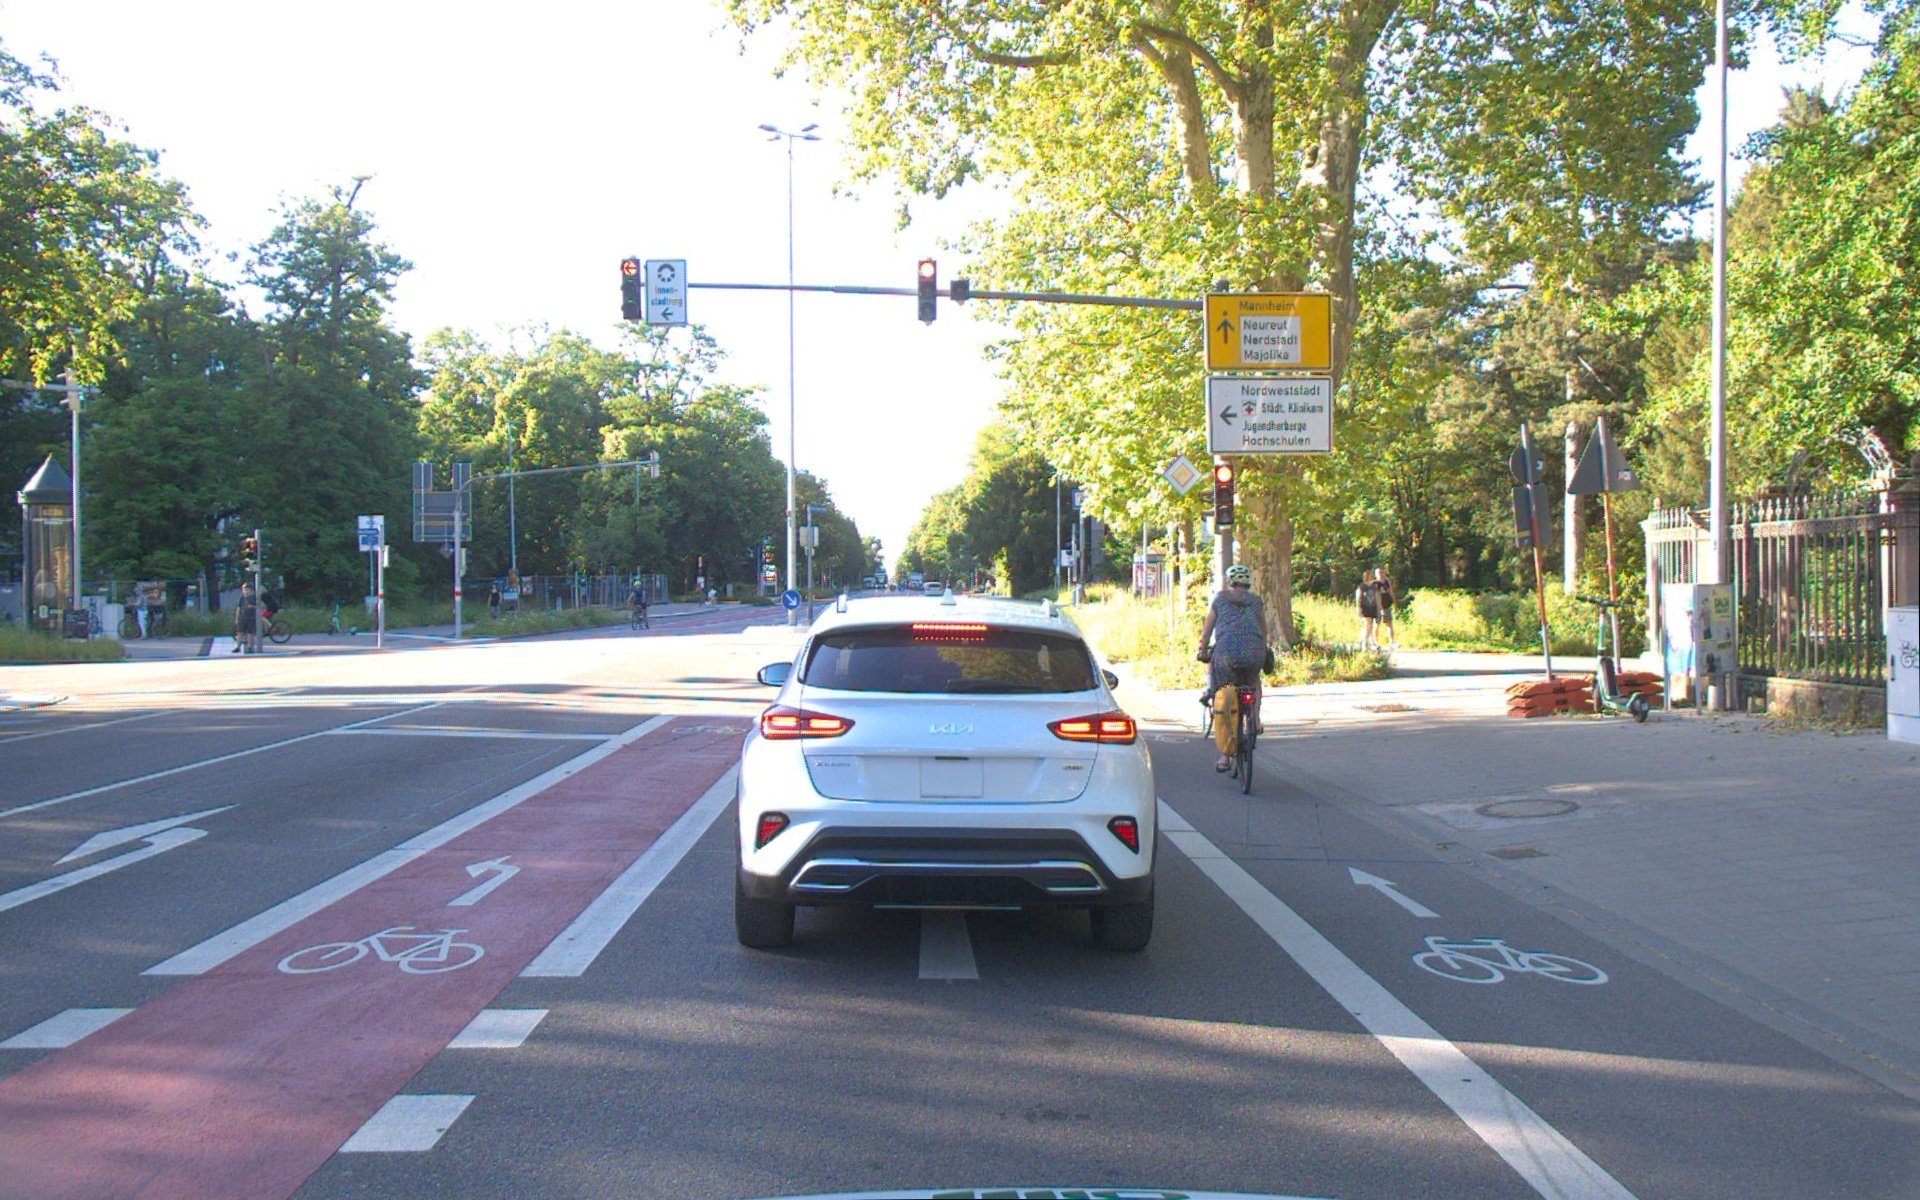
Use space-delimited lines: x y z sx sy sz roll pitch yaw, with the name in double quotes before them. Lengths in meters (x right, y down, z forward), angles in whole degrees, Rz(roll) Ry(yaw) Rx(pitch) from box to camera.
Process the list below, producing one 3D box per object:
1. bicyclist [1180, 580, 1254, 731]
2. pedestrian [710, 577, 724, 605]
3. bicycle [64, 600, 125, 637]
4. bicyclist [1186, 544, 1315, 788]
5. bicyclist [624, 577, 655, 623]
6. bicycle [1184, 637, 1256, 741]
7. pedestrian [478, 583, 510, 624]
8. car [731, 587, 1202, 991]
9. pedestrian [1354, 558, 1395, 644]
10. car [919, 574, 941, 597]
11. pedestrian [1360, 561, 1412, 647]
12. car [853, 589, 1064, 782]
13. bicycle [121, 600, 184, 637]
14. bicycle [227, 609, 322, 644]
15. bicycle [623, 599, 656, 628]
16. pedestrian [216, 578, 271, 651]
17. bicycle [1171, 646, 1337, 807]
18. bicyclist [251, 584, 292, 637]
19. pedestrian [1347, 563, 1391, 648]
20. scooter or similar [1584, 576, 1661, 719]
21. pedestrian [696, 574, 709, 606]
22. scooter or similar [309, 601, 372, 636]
"bicyclist" 2.660 0.565 17.162 0.543 1.504 0.716 -3 0 -2
"pedestrian" -15.512 -0.565 105.476 0.769 1.817 0.751 0 0 0
"bicycle" -28.363 0.606 54.212 1.822 1.168 0.443 0 0 4
"bicyclist" 2.273 0.495 13.080 0.738 1.827 1.164 1 0 -2
"bicyclist" -11.811 -0.006 61.017 0.857 1.636 1.188 -1 0 1
"bicycle" 2.673 0.898 17.140 0.393 0.973 1.550 -3 0 -2
"pedestrian" -18.990 0.152 67.444 1.067 1.631 0.999 -1 0 -7
"car" -0.045 0.693 8.224 1.785 1.506 3.935 0 1 -2
"pedestrian" 8.746 0.019 34.924 0.604 1.802 0.646 -1 0 -8
"car" -2.766 -1.381 152.670 1.953 2.049 3.999 -1 1 -1
"pedestrian" 9.129 0.071 35.432 0.802 1.802 0.831 -1 0 -8
"car" -0.083 0.682 15.201 1.694 1.509 3.515 -1 1 -3
"bicycle" -26.334 0.607 53.949 1.826 1.168 0.290 0 0 -8
"bicycle" -21.563 0.825 52.053 2.654 1.006 0.580 -1 0 -7
"bicycle" -11.801 0.498 60.977 0.650 1.006 2.504 -1 1 1
"pedestrian" -20.451 0.414 47.250 0.974 2.049 1.191 0 0 4
"bicycle" 2.264 0.939 13.079 0.742 1.031 2.568 1 1 -2
"bicyclist" -21.653 0.319 52.034 0.956 1.634 0.876 -1 0 -7
"pedestrian" 8.513 0.111 34.459 0.676 1.729 0.643 -1 0 -7
"scooter or similar" 6.481 0.443 16.212 0.223 1.350 1.171 -1 1 -2
"pedestrian" -16.383 -0.623 105.178 0.627 2.049 0.754 0 0 9
"scooter or similar" -20.939 0.618 55.920 0.698 1.144 1.913 0 0 36
